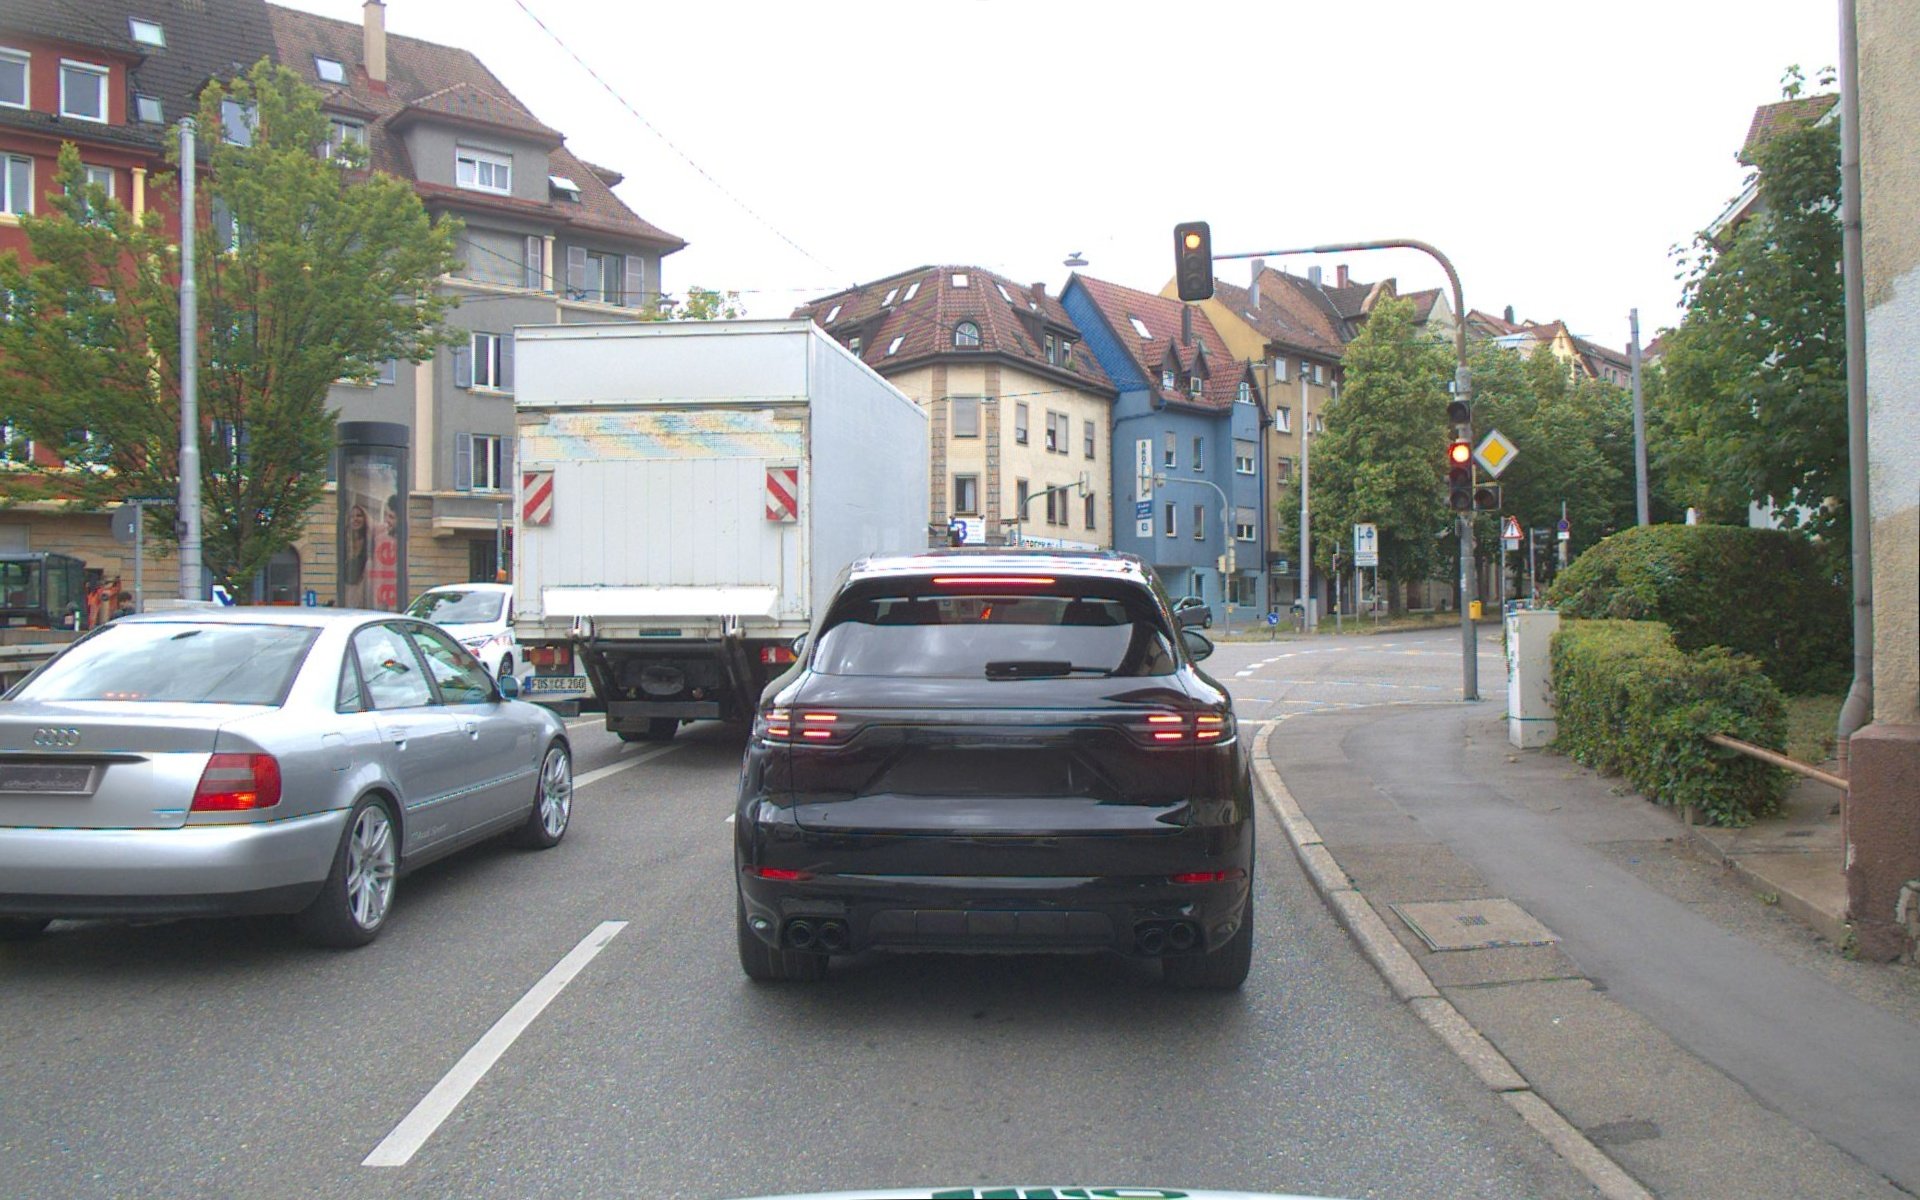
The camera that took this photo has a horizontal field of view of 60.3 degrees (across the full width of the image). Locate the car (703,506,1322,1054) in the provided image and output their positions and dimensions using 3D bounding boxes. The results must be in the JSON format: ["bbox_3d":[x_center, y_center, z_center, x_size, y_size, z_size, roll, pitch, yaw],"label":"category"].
[{"bbox_3d":[0.143,0.598,7.631,1.990,1.753,4.499,1,0,-1],"label":"car"}]

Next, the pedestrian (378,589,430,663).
[{"bbox_3d":[-12.130,0.556,36.087,0.778,1.573,0.736,-1,0,32],"label":"pedestrian"}]

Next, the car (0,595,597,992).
[{"bbox_3d":[-3.114,0.691,7.969,1.594,1.389,4.130,-1,0,3],"label":"car"}]

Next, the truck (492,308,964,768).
[{"bbox_3d":[-1.857,-0.498,17.310,2.667,3.606,8.428,-1,0,8],"label":"truck"}]

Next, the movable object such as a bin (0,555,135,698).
[{"bbox_3d":[-13.949,0.375,25.482,1.351,2.049,3.525,-1,0,-12],"label":"movable object such as a bin"}]

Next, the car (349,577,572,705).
[{"bbox_3d":[-6.762,0.513,22.845,1.734,1.548,4.084,-2,0,1],"label":"car"}]

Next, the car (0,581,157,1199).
[{"bbox_3d":[-2.709,0.716,1.181,1.953,1.454,4.841,-1,0,-1],"label":"car"}]

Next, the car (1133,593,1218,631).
[{"bbox_3d":[9.366,0.556,71.575,1.690,1.502,4.197,0,-2,39],"label":"car"}]

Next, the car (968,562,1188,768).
[{"bbox_3d":[1.165,0.515,14.790,1.613,1.583,3.586,1,0,9],"label":"car"}]
